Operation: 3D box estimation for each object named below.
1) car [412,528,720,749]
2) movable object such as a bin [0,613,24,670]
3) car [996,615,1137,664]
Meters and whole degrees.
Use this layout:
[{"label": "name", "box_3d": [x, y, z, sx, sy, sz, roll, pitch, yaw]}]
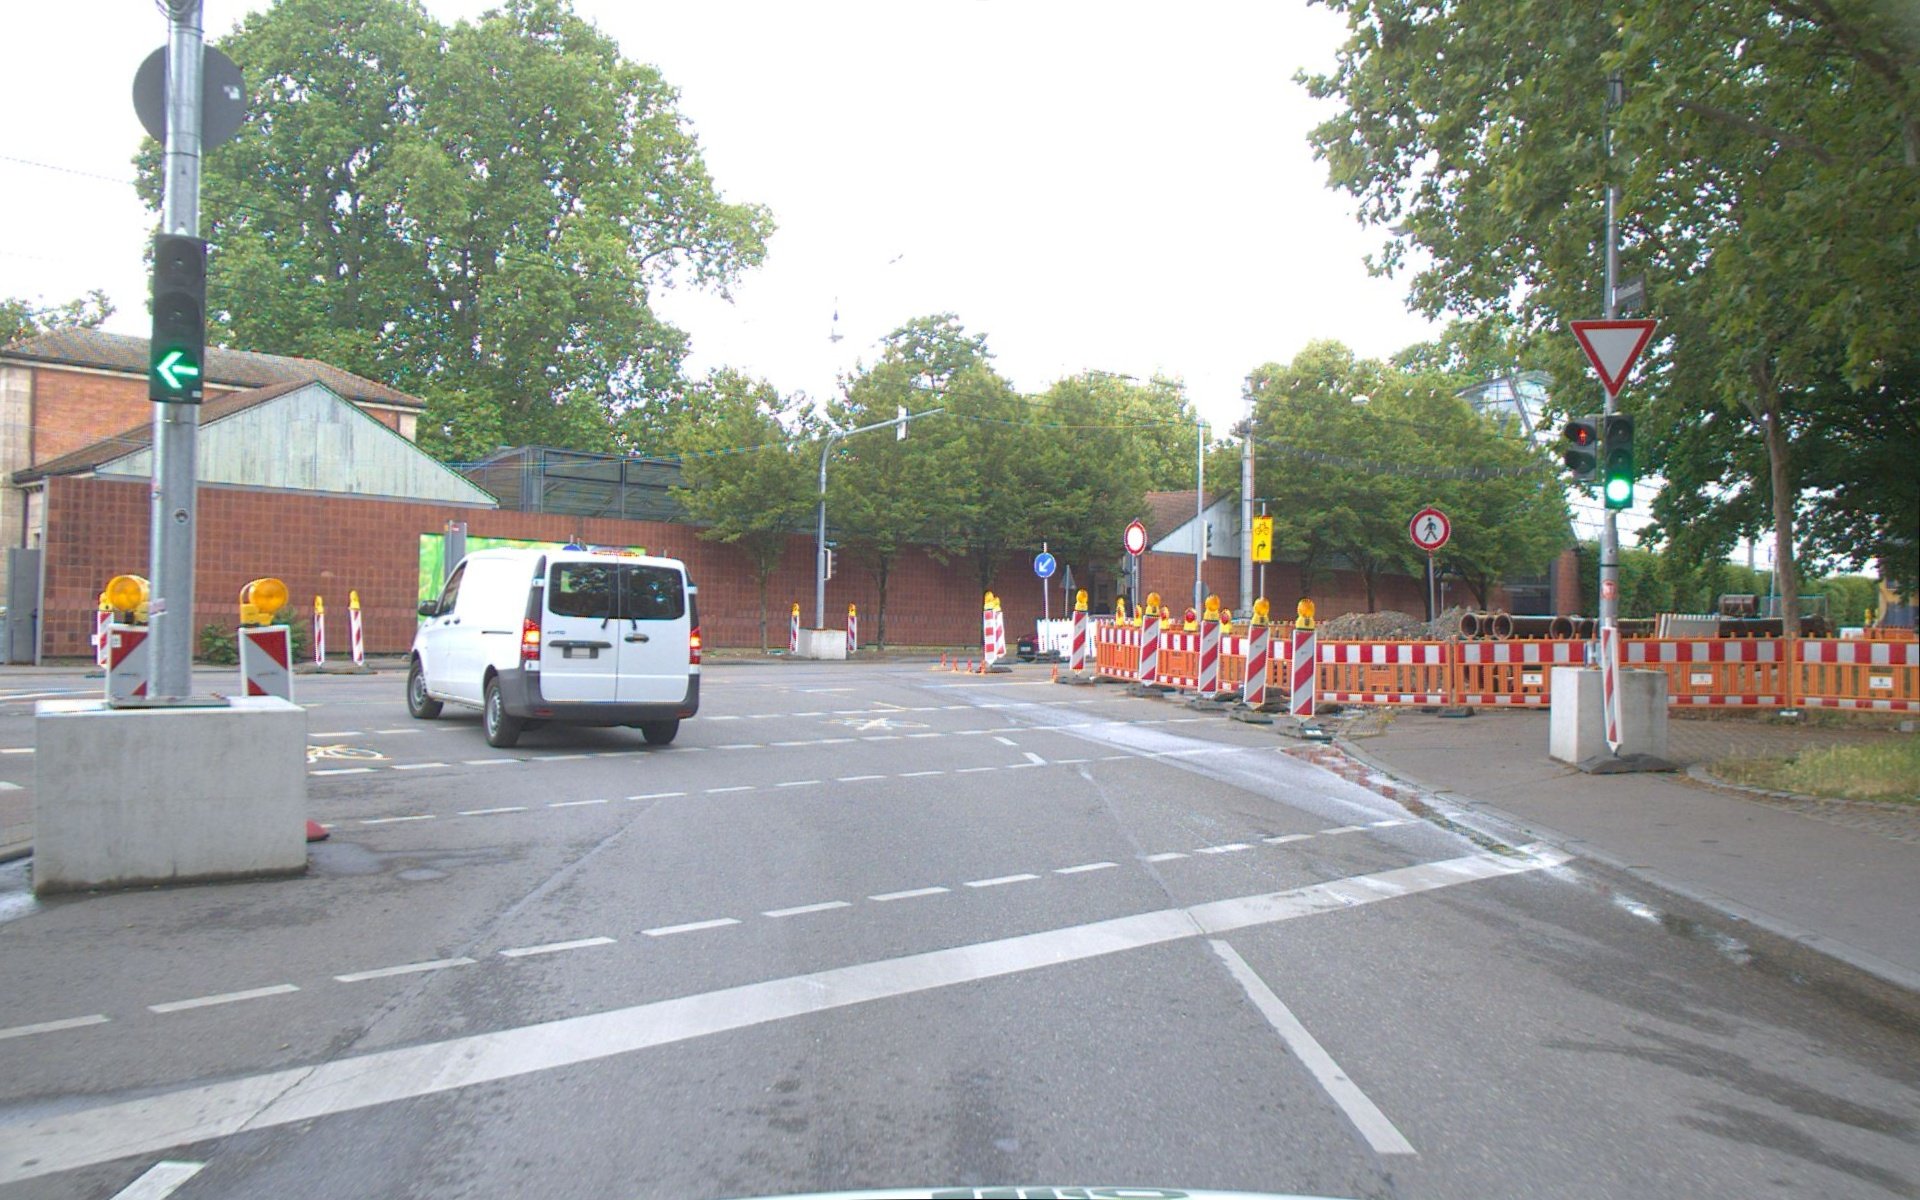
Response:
[{"label": "car", "box_3d": [-4.311, 0.404, 17.494, 1.896, 1.935, 4.656, 5, -3, -29]}, {"label": "movable object such as a bin", "box_3d": [-23.256, 1.000, 40.096, 0.844, 1.364, 0.788, 1, -2, -43]}, {"label": "car", "box_3d": [3.413, 1.294, 52.688, 4.412, 1.468, 1.855, 2, -3, -38]}]
